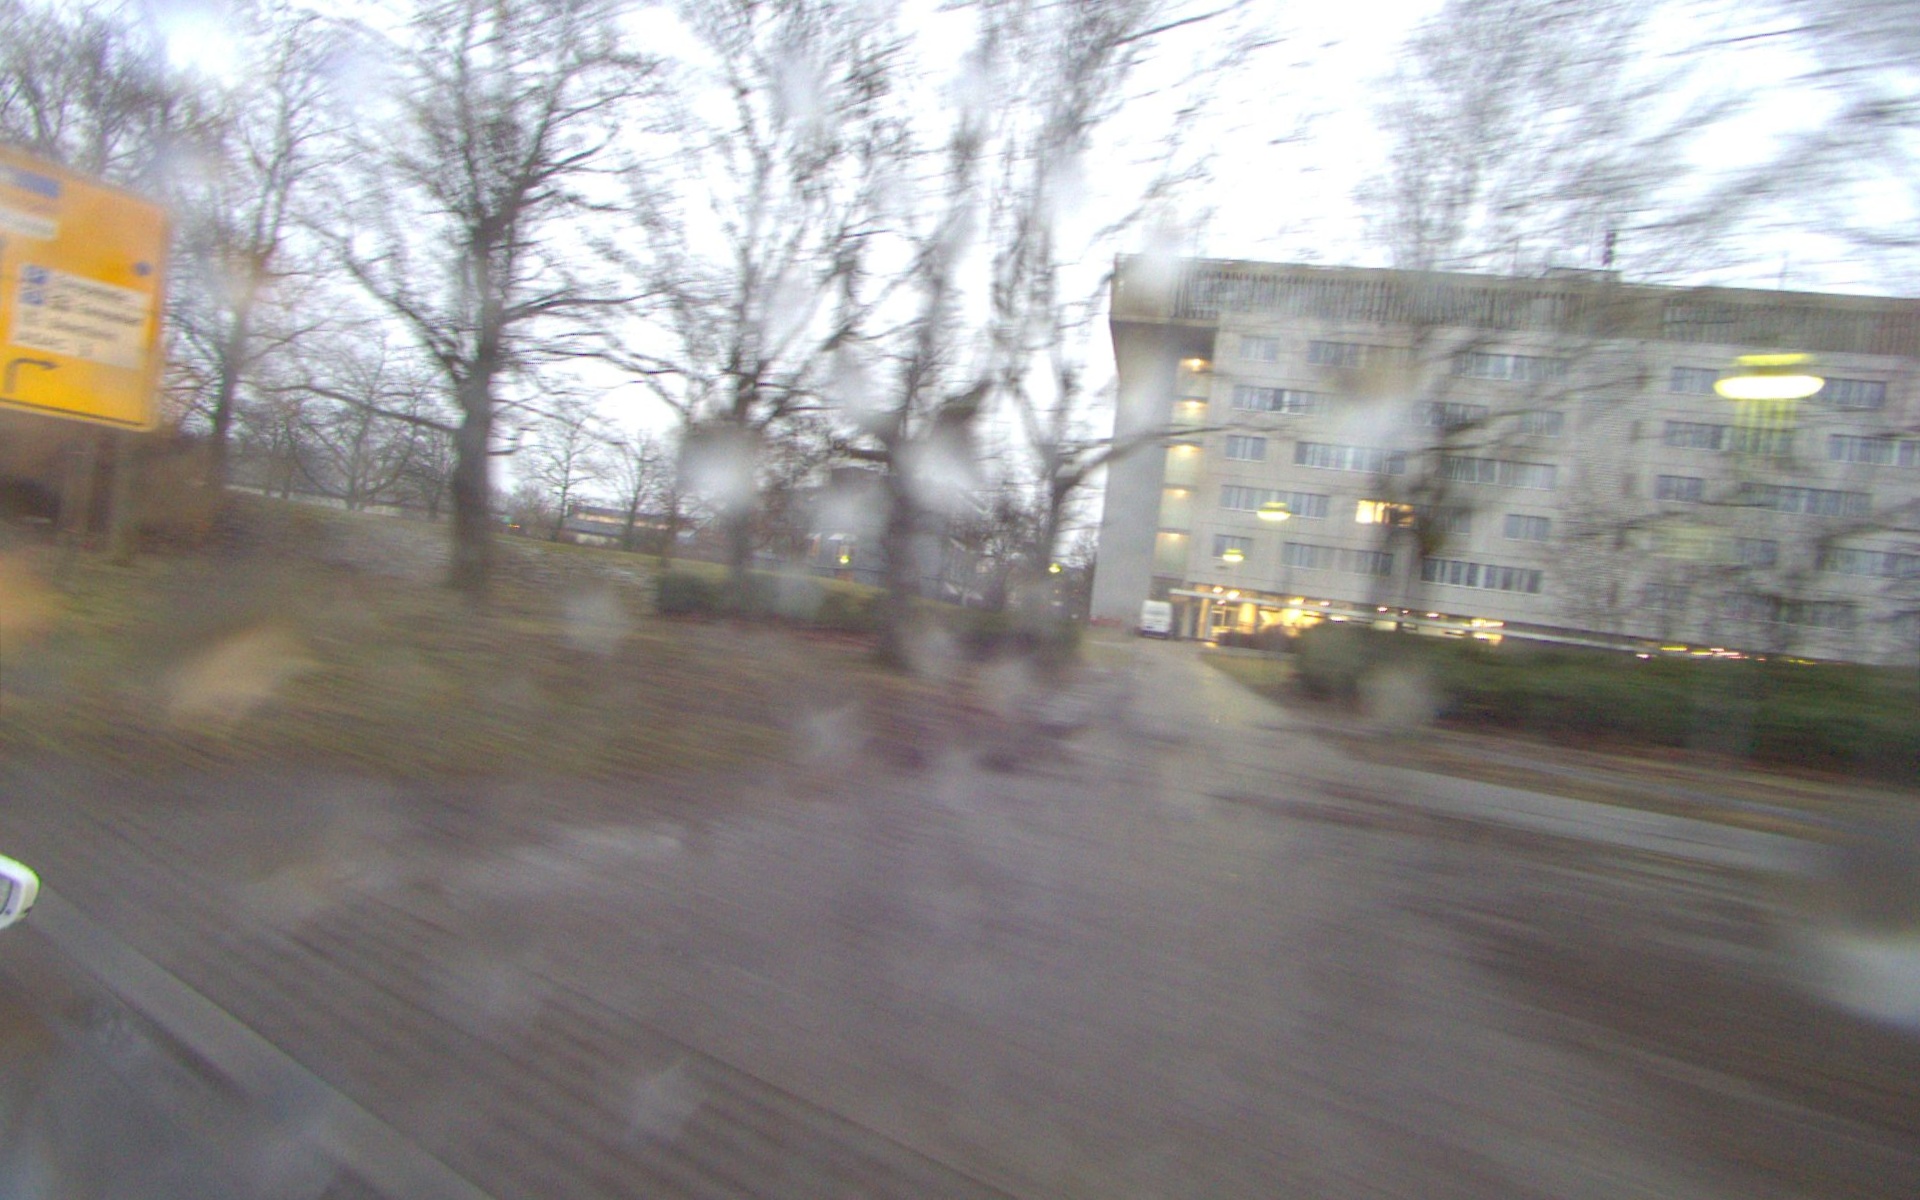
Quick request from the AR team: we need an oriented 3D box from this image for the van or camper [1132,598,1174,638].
[{"bbox_3d":[13.315,1.266,69.674,2.094,2.374,4.480,7,0,5],"label":"van or camper"}]
